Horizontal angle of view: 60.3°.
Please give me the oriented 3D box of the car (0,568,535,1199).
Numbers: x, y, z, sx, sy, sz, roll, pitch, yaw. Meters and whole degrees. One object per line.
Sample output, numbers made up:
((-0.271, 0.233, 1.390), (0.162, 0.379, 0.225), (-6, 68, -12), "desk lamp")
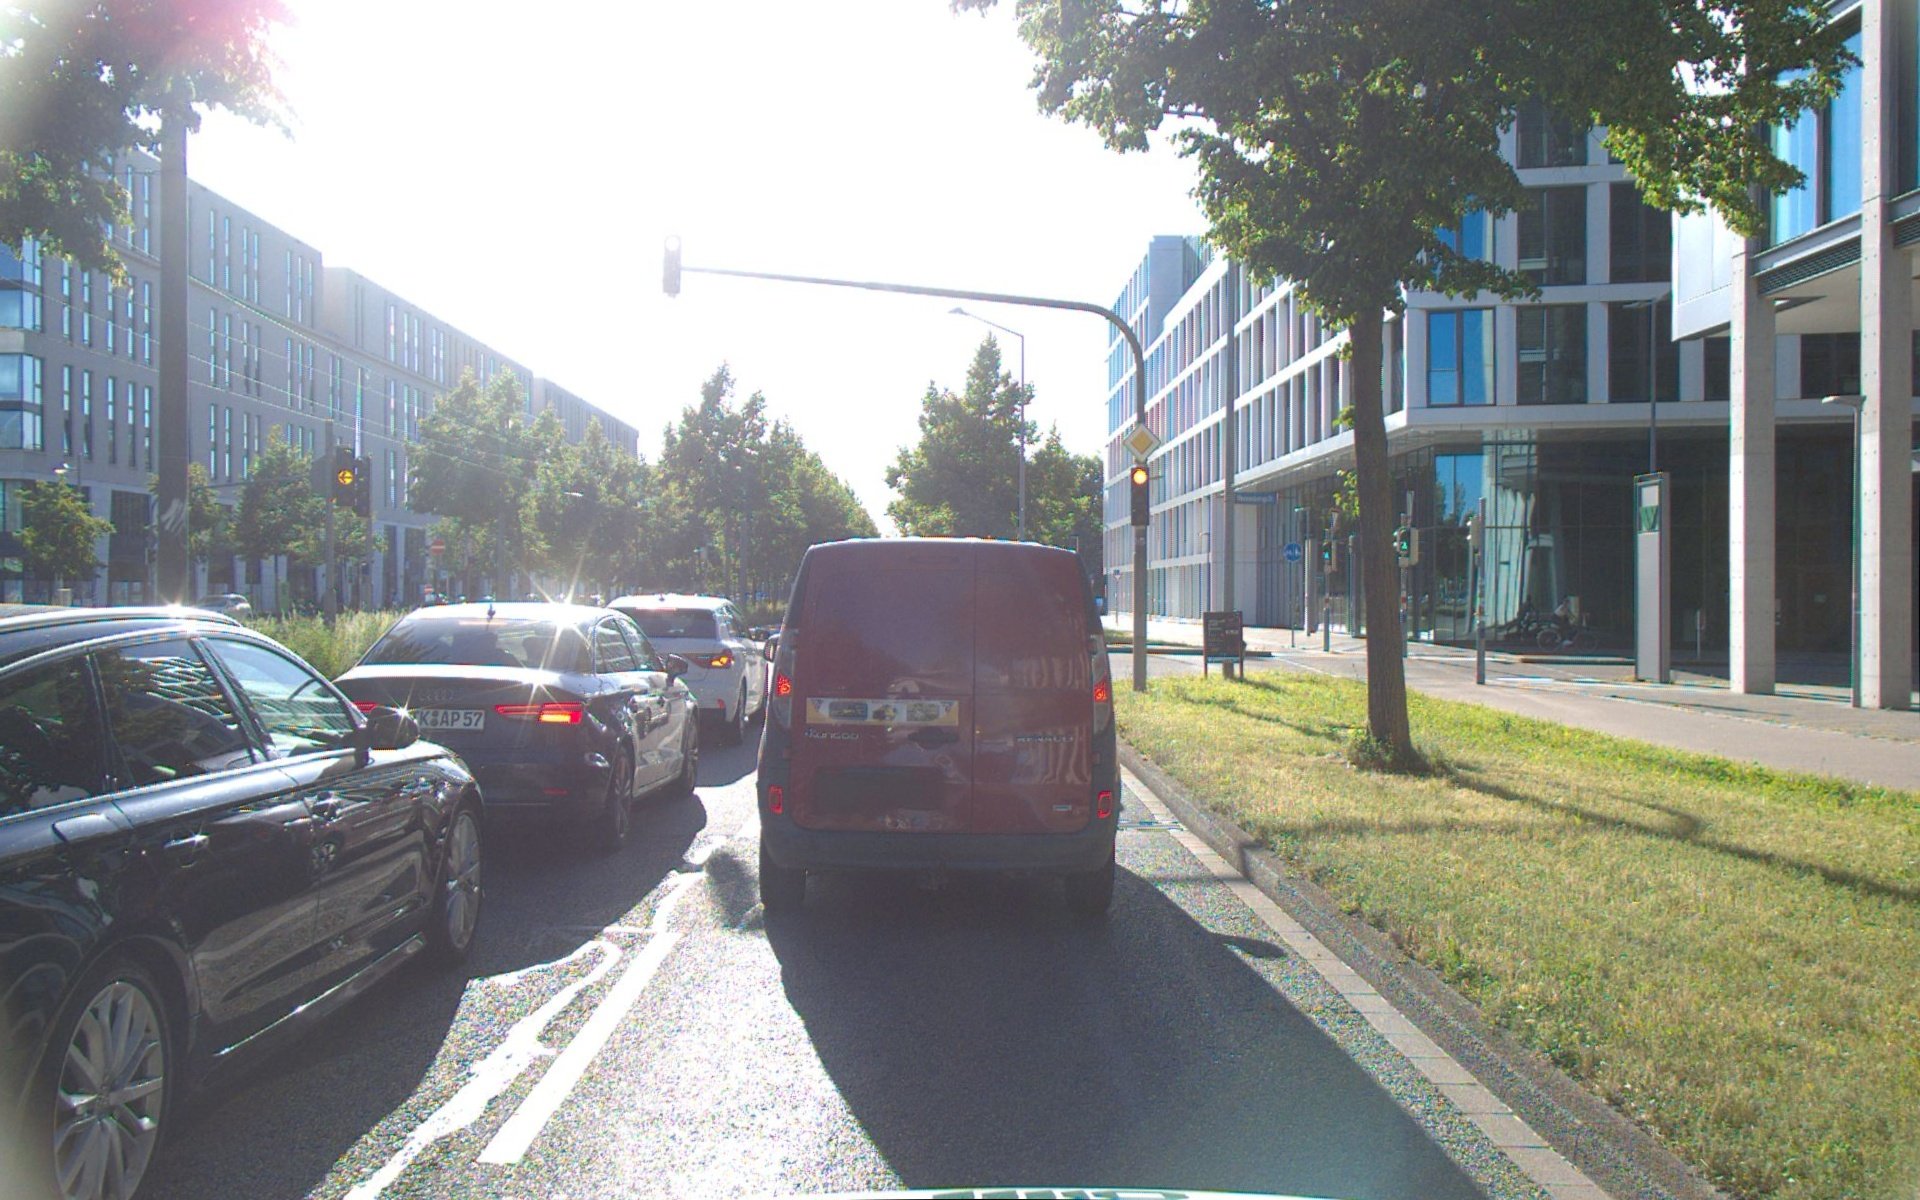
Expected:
((-2.775, 0.683, 5.026), (1.836, 1.510, 4.965), (0, 0, -2), "car")

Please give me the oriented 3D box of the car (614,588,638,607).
((-36.701, -0.265, 181.840), (1.953, 2.049, 3.999), (0, 0, -1), "car")

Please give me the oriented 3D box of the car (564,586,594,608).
((-36.368, -0.313, 157.859), (1.953, 2.049, 3.999), (0, 0, -1), "car")

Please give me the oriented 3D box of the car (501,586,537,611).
((-36.232, -0.140, 135.932), (1.953, 2.049, 3.999), (0, 0, -1), "car")

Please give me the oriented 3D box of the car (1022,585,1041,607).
((8.600, -0.511, 198.444), (1.953, 2.540, 4.986), (0, 0, -1), "car")

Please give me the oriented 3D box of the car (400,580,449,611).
((-35.273, -0.308, 109.096), (1.953, 2.049, 3.999), (0, 0, -1), "car")

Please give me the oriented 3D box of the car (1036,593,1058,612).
((8.437, 0.239, 160.723), (1.953, 1.813, 3.999), (0, 0, -1), "car")

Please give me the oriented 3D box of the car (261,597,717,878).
((-2.787, 0.721, 10.850), (1.804, 1.451, 4.338), (0, 0, -1), "car")

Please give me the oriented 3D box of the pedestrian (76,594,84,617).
((-43.365, 0.269, 81.545), (0.248, 1.104, 0.260), (0, 0, -1), "pedestrian")

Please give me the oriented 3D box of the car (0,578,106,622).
((-33.191, -0.027, 60.638), (1.729, 1.546, 3.999), (0, 0, -1), "car")

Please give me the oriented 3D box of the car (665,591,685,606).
((-37.333, -0.202, 216.662), (1.953, 2.049, 3.999), (0, 0, -1), "car")

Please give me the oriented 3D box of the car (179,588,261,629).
((-34.736, 0.376, 77.758), (1.953, 1.845, 4.369), (0, 0, -1), "car")

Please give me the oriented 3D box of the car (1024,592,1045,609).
((8.084, 0.071, 179.918), (1.953, 1.813, 3.999), (0, 0, -1), "car")

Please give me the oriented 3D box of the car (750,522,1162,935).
((-0.047, 0.557, 9.280), (1.804, 1.812, 3.999), (0, 0, -1), "car")

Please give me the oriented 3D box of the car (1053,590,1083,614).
((8.339, 0.150, 128.118), (1.953, 1.813, 3.999), (0, 0, -1), "car")

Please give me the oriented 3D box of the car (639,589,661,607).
((-37.196, -0.243, 198.646), (1.953, 2.049, 3.999), (0, 0, -1), "car")

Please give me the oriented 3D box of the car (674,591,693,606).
((-37.145, -0.180, 222.288), (1.953, 2.049, 3.999), (0, 0, -1), "car")

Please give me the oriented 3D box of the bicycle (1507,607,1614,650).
((17.894, 0.830, 49.313), (2.896, 1.211, 0.814), (0, 0, 39), "bicycle")

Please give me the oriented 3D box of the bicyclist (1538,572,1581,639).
((17.879, 0.152, 49.329), (0.983, 1.981, 0.814), (0, 0, 39), "bicyclist")

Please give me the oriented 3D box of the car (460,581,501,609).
((-35.822, -0.377, 123.626), (1.953, 2.049, 3.999), (0, 0, -1), "car")

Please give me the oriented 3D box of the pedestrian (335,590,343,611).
((-43.549, 0.060, 115.972), (0.382, 1.463, 0.460), (0, 0, 44), "pedestrian")

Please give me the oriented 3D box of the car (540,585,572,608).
((-36.351, -0.335, 148.759), (1.953, 2.049, 3.999), (0, 0, -1), "car")

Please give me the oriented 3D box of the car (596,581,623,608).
((-35.584, -0.555, 167.802), (1.953, 2.653, 3.999), (0, 0, -1), "car")

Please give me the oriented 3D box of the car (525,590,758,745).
((-3.238, 0.625, 17.541), (1.767, 1.451, 3.900), (0, 0, -1), "car")
